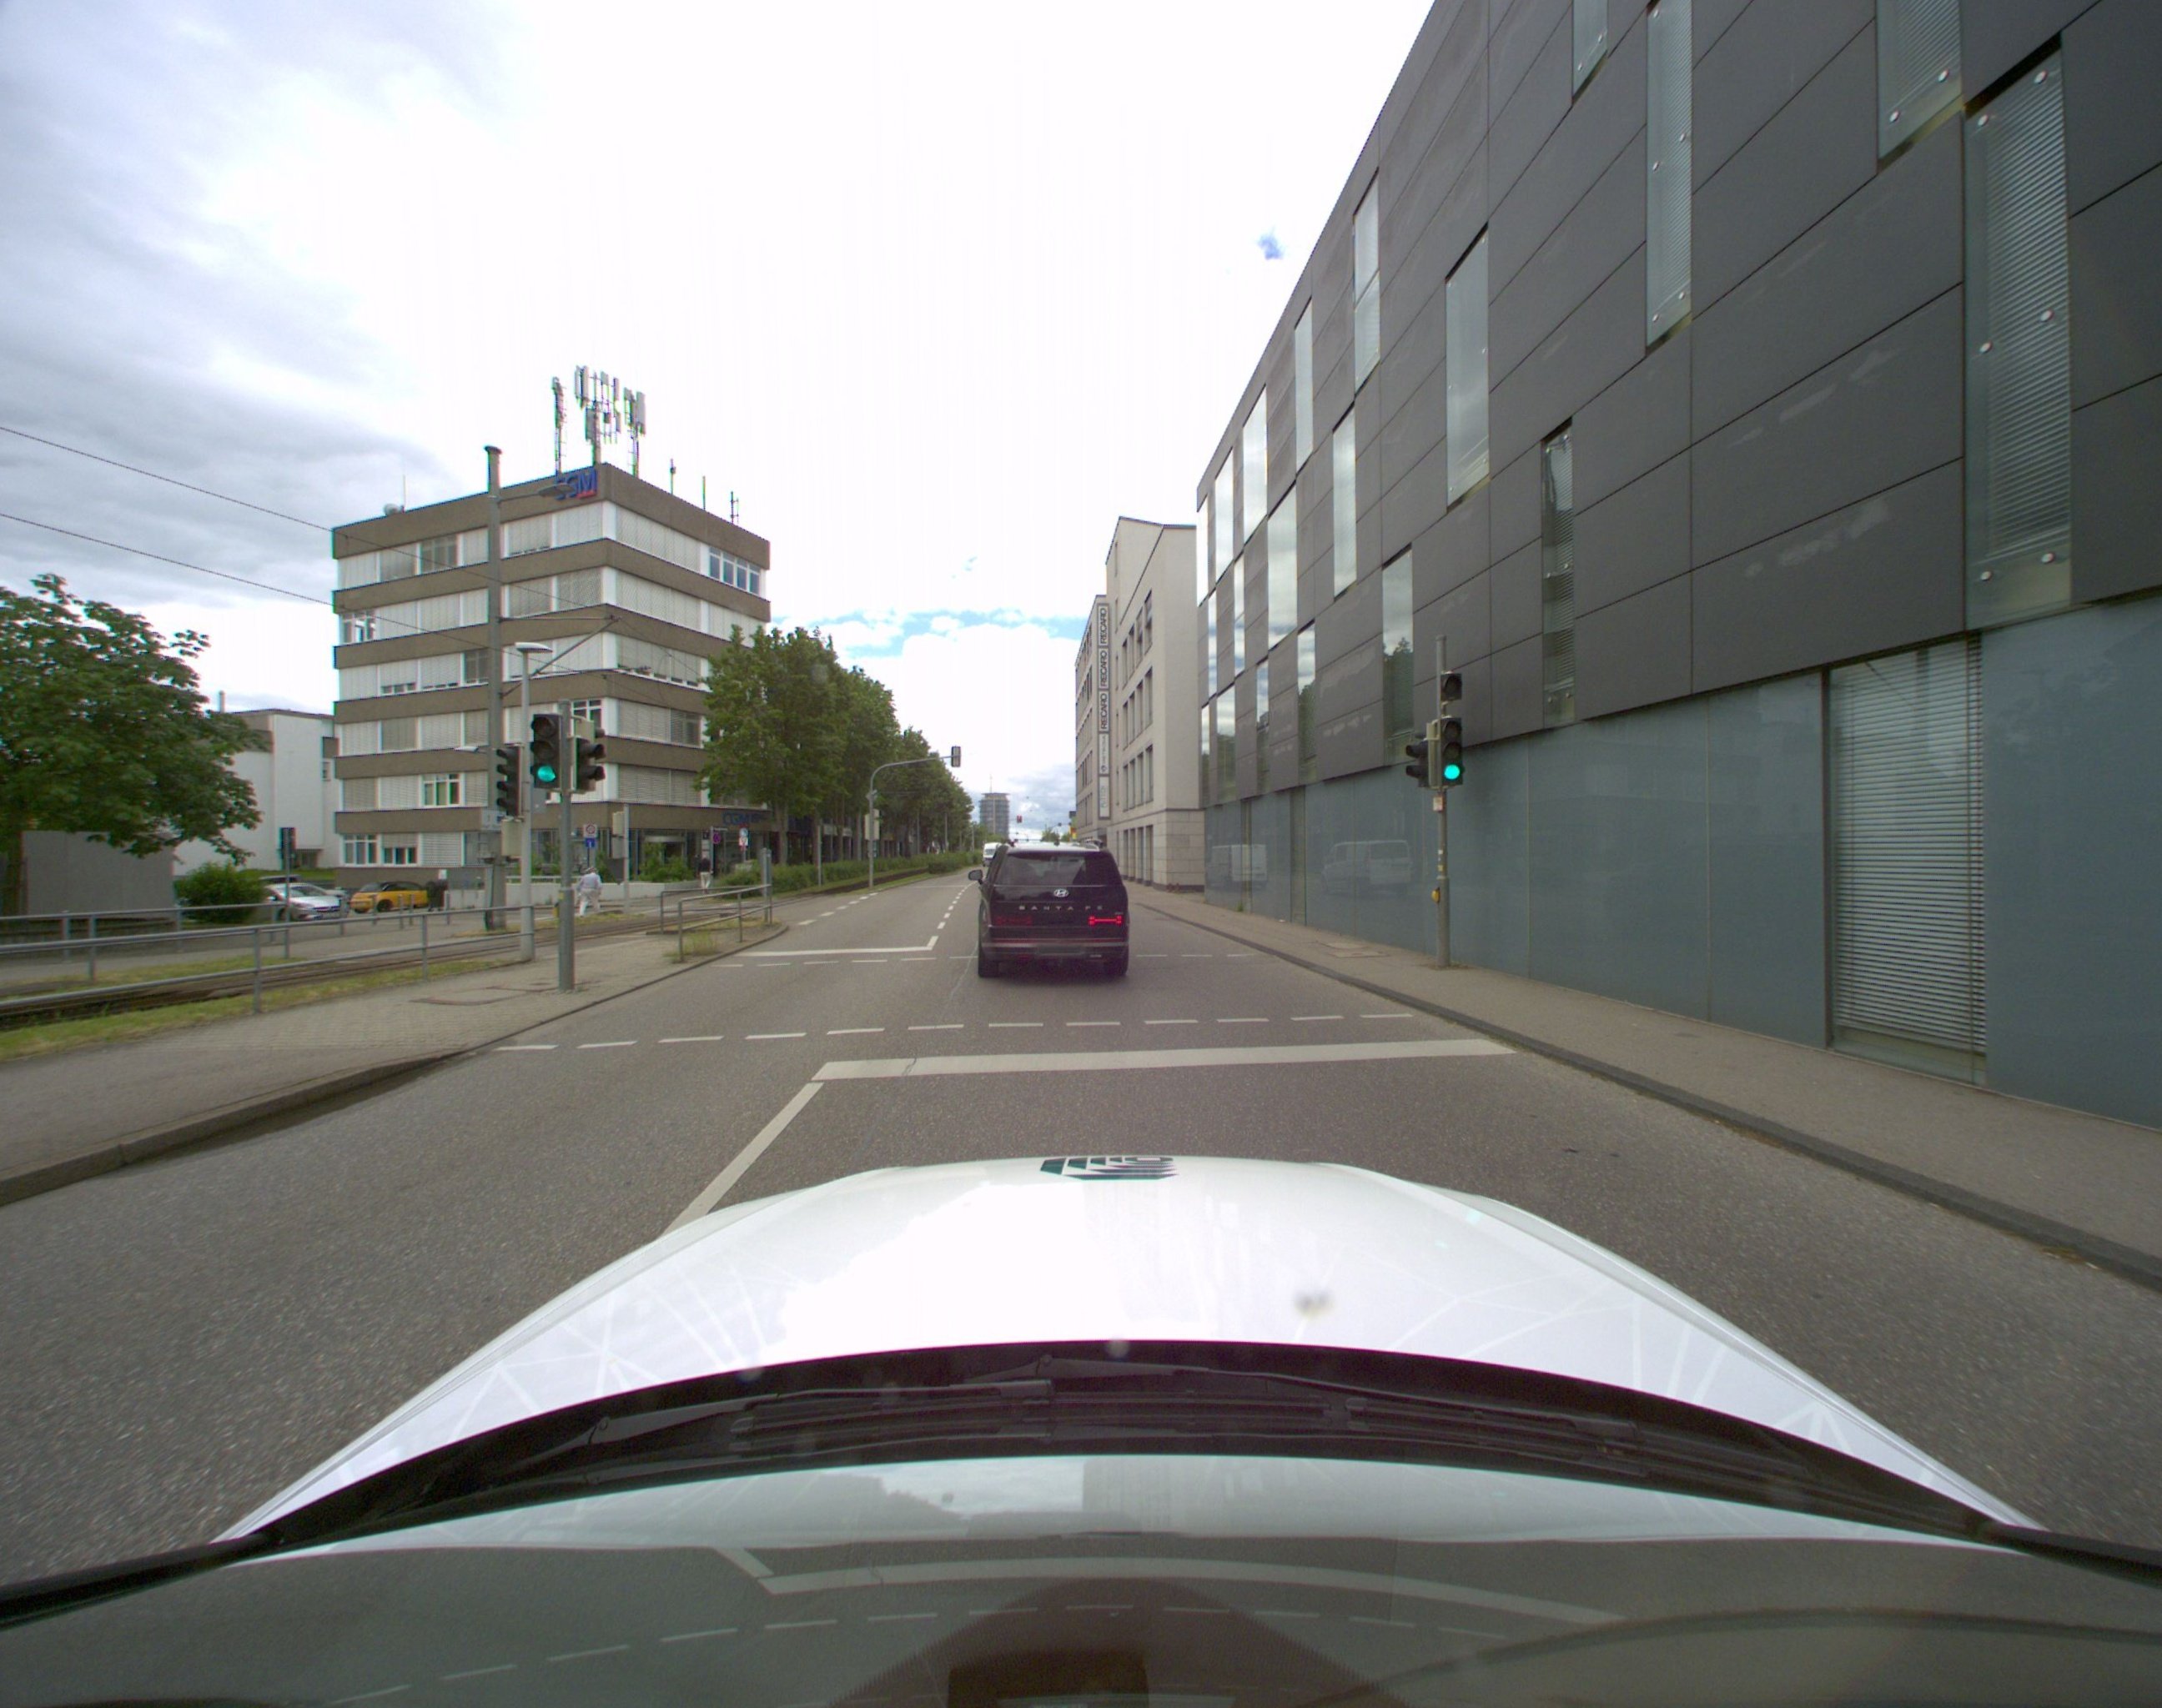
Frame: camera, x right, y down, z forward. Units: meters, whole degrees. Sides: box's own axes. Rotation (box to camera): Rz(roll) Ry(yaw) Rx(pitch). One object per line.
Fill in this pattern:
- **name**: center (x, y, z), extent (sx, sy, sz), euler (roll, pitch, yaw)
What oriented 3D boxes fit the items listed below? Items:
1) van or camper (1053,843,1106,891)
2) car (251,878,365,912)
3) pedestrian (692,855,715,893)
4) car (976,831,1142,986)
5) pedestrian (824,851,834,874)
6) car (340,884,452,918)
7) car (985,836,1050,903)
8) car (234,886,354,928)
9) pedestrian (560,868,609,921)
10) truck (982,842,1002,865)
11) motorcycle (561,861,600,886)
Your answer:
- **van or camper**: center (-0.133, 0.524, 35.155), extent (1.990, 1.915, 4.325), euler (0, 0, -4)
- **car**: center (-41.545, 2.167, 43.886), extent (1.835, 1.574, 4.017), euler (-3, 0, 16)
- **pedestrian**: center (-17.073, 0.894, 36.840), extent (0.686, 1.705, 0.682), euler (-2, 0, -2)
- **car**: center (-0.512, 0.622, 11.545), extent (1.907, 1.749, 4.385), euler (-1, 0, -7)
- **pedestrian**: center (-22.229, 0.765, 71.780), extent (0.680, 2.013, 0.570), euler (-1, 0, -5)
- **car**: center (-34.374, 2.332, 41.005), extent (1.712, 1.425, 4.017), euler (-3, 0, 16)
- **car**: center (-2.181, 0.458, 26.787), extent (1.930, 1.994, 4.524), euler (-1, 0, -7)
- **car**: center (-28.715, 1.938, 29.716), extent (3.952, 1.359, 1.651), euler (-3, -1, 22)
- **pedestrian**: center (-14.904, 1.202, 24.464), extent (0.846, 1.526, 0.994), euler (-2, 0, -6)
- **truck**: center (-10.425, -0.039, 95.455), extent (2.162, 2.615, 5.785), euler (-1, 0, -5)
- **motorcycle**: center (-25.059, 0.987, 40.774), extent (1.863, 1.199, 0.571), euler (-1, 0, 19)
